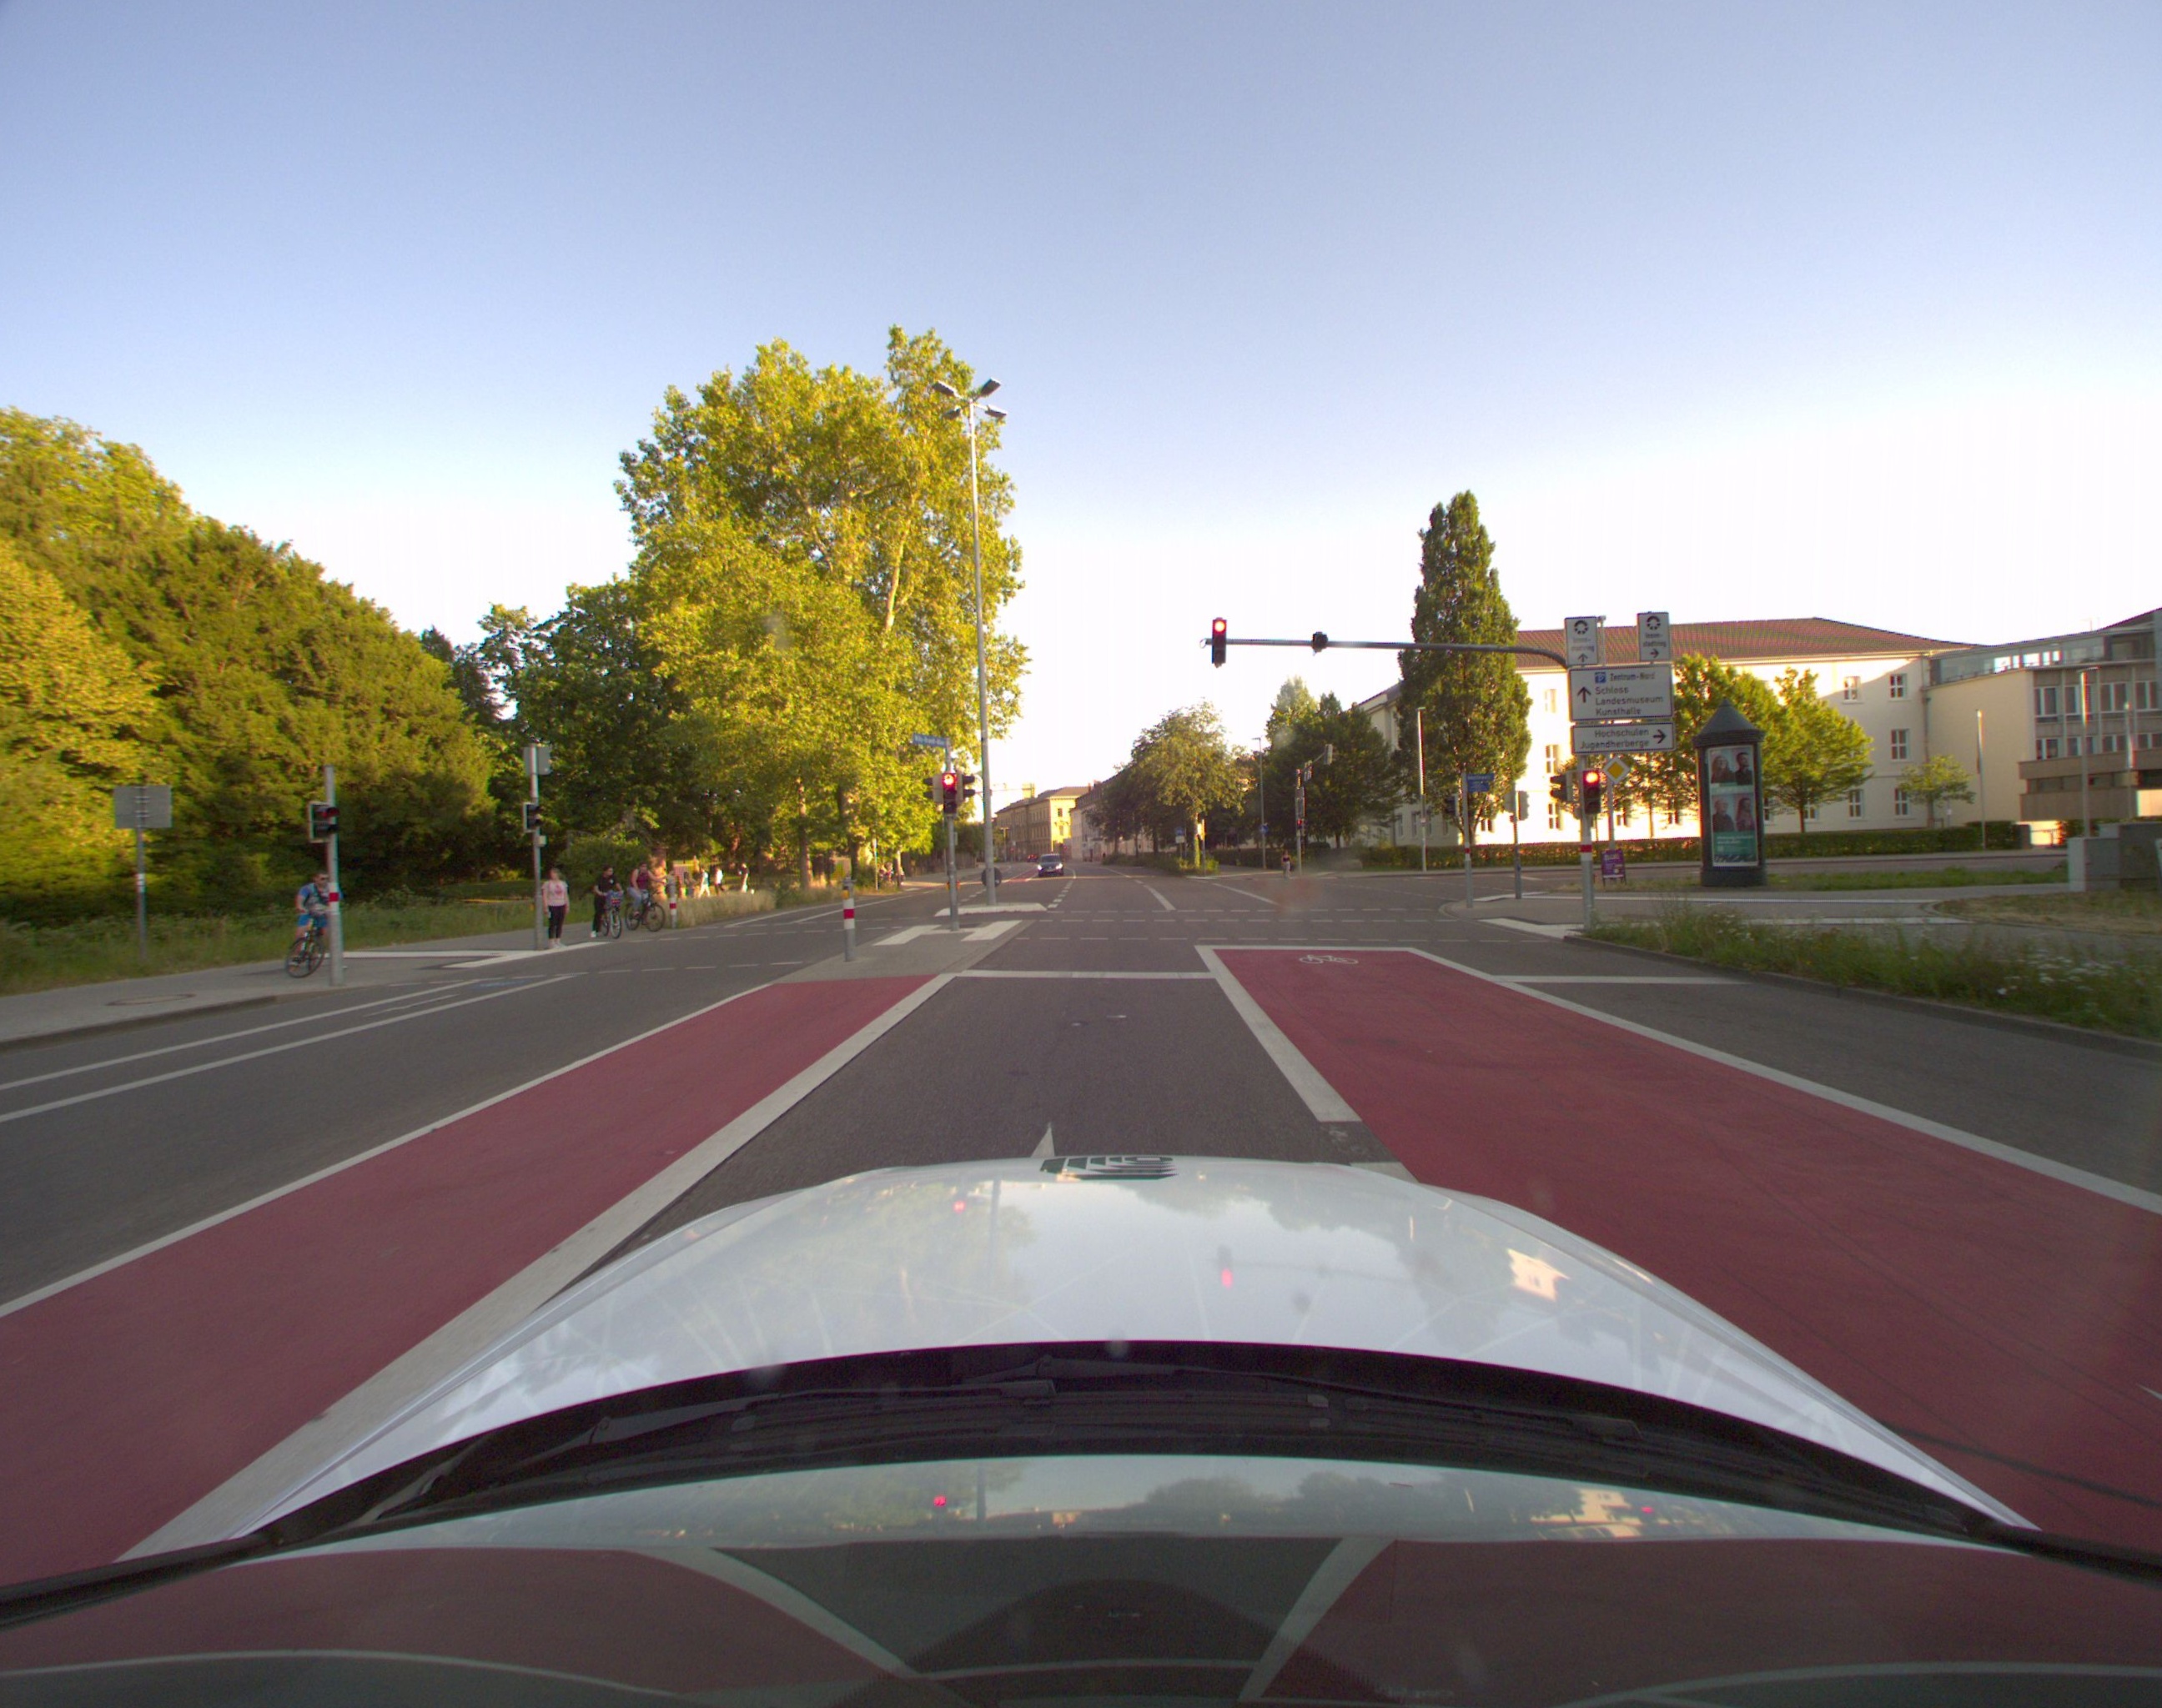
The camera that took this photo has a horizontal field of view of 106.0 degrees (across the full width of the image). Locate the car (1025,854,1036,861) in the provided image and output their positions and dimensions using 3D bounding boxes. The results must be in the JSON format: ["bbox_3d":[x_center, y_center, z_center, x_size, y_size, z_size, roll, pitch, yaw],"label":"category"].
[{"bbox_3d":[-10.954,0.749,176.560,1.821,1.588,3.984,-3,0,-12],"label":"car"}]

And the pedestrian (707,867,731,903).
[{"bbox_3d":[-20.350,1.726,45.797,0.757,2.013,1.077,-1,0,1],"label":"pedestrian"}]

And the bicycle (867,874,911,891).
[{"bbox_3d":[-11.489,1.703,48.760,2.420,0.924,0.775,-2,0,2],"label":"bicycle"}]

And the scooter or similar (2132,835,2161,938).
[{"bbox_3d":[13.082,0.384,9.360,0.309,1.231,1.311,-2,0,2],"label":"scooter or similar"}]

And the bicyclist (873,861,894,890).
[{"bbox_3d":[-11.434,1.215,47.214,0.954,1.631,0.753,-2,0,2],"label":"bicyclist"}]

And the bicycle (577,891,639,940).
[{"bbox_3d":[-11.571,1.495,19.899,1.548,1.111,0.637,-2,0,33],"label":"bicycle"}]

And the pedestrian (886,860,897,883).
[{"bbox_3d":[-12.965,1.193,55.598,0.533,1.596,0.591,-2,0,2],"label":"pedestrian"}]

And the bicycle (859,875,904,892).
[{"bbox_3d":[-11.562,1.708,47.229,2.420,0.924,0.775,-2,0,2],"label":"bicycle"}]

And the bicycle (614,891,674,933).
[{"bbox_3d":[-11.598,1.521,21.589,1.749,1.030,0.583,-2,0,33],"label":"bicycle"}]

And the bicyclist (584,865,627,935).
[{"bbox_3d":[-11.627,1.111,19.931,0.631,1.649,0.634,-2,0,32],"label":"bicyclist"}]

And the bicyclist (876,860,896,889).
[{"bbox_3d":[-11.679,1.220,48.759,0.954,1.631,0.753,-2,0,2],"label":"bicyclist"}]

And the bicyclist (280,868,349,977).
[{"bbox_3d":[-13.364,1.162,14.222,0.740,1.824,0.705,-1,0,-33],"label":"bicyclist"}]

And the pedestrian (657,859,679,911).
[{"bbox_3d":[-16.083,1.200,31.739,0.654,2.013,0.599,-1,0,-37],"label":"pedestrian"}]

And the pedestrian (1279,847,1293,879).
[{"bbox_3d":[10.577,0.462,42.035,0.597,1.636,0.692,-1,0,3],"label":"pedestrian"}]

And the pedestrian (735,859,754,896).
[{"bbox_3d":[-18.584,1.273,44.957,0.637,2.013,0.702,-2,0,4],"label":"pedestrian"}]

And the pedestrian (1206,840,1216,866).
[{"bbox_3d":[10.085,-0.049,63.249,0.633,2.013,0.720,-1,0,-2],"label":"pedestrian"}]

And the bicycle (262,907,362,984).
[{"bbox_3d":[-13.351,1.548,14.211,0.775,1.100,2.102,-2,0,-30],"label":"bicycle"}]

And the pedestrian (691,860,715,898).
[{"bbox_3d":[-20.677,1.359,44.614,0.799,2.013,0.994,-1,0,2],"label":"pedestrian"}]

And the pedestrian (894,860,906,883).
[{"bbox_3d":[-12.292,1.182,55.459,0.596,1.573,0.646,-2,0,2],"label":"pedestrian"}]

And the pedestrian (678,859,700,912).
[{"bbox_3d":[-15.183,1.202,31.545,0.598,2.013,0.634,-1,0,-38],"label":"pedestrian"}]

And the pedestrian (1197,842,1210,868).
[{"bbox_3d":[9.374,0.075,62.517,0.867,2.013,0.723,-1,0,2],"label":"pedestrian"}]

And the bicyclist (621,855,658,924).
[{"bbox_3d":[-11.749,0.940,21.682,0.631,1.780,0.580,-2,0,32],"label":"bicyclist"}]

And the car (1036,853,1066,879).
[{"bbox_3d":[-2.129,0.823,59.091,1.843,1.720,4.297,-4,0,1],"label":"car"}]

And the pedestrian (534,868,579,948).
[{"bbox_3d":[-11.450,1.174,17.787,0.604,1.695,0.499,-2,0,3],"label":"pedestrian"}]
